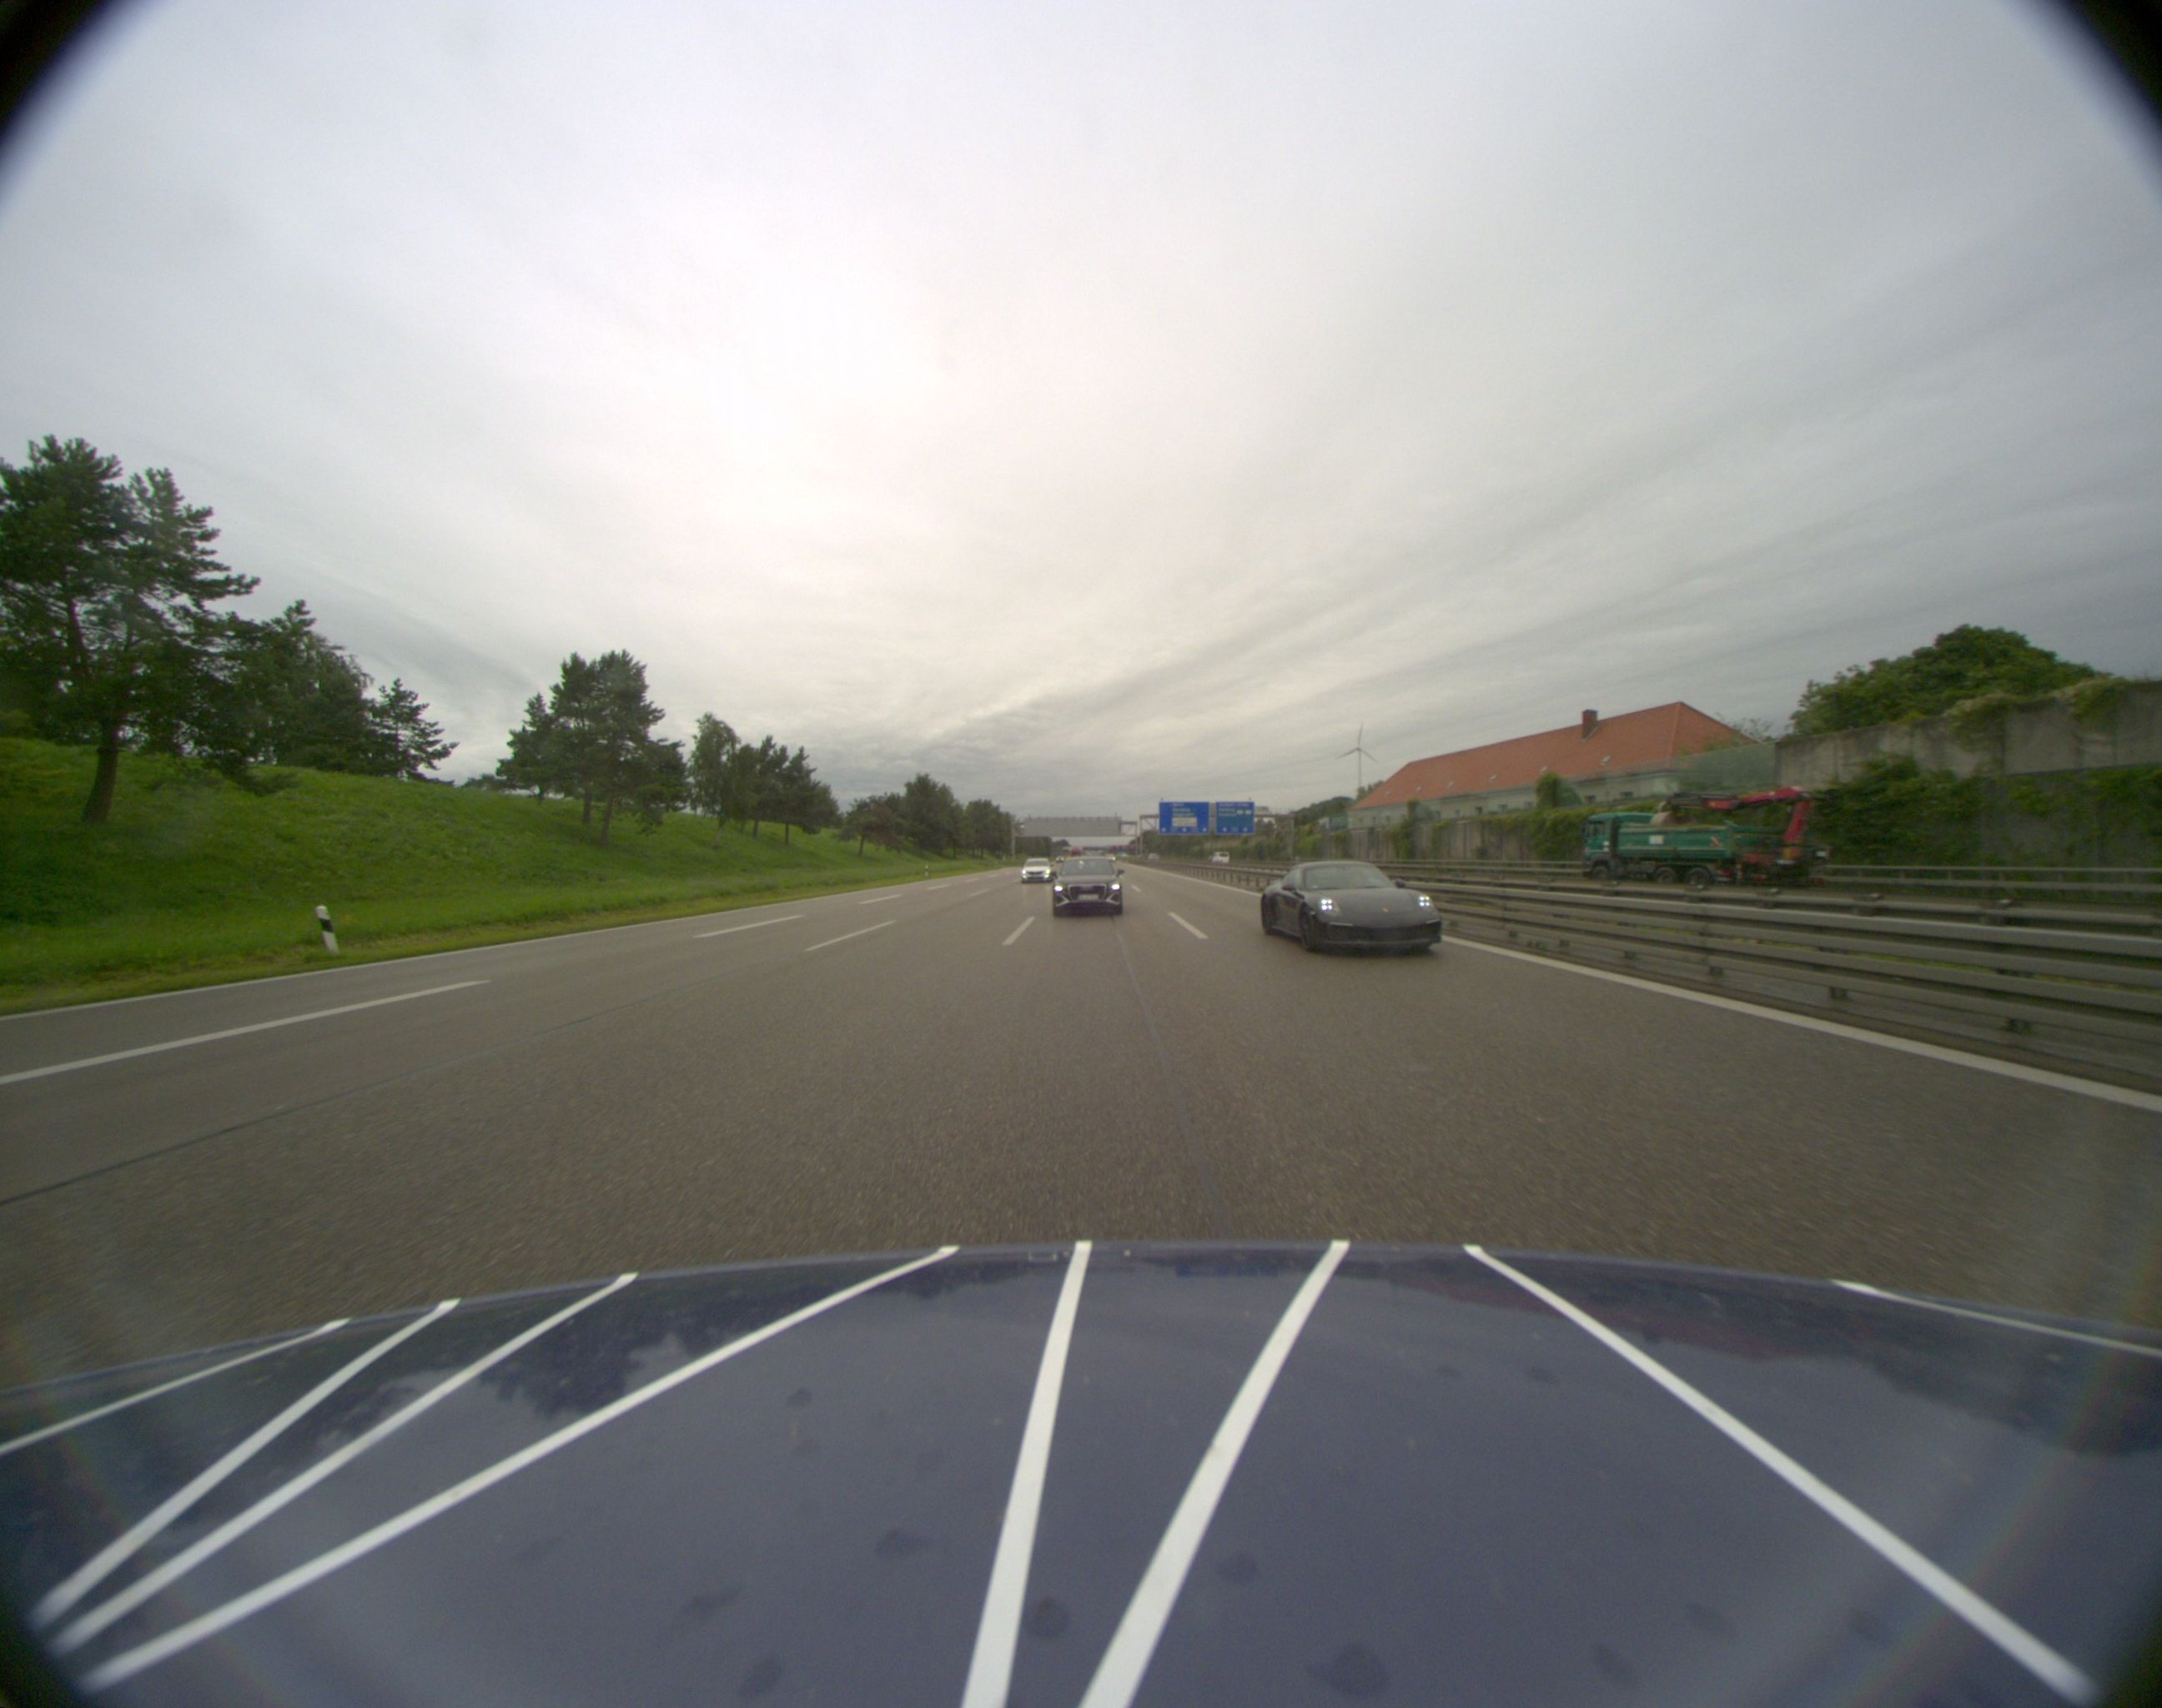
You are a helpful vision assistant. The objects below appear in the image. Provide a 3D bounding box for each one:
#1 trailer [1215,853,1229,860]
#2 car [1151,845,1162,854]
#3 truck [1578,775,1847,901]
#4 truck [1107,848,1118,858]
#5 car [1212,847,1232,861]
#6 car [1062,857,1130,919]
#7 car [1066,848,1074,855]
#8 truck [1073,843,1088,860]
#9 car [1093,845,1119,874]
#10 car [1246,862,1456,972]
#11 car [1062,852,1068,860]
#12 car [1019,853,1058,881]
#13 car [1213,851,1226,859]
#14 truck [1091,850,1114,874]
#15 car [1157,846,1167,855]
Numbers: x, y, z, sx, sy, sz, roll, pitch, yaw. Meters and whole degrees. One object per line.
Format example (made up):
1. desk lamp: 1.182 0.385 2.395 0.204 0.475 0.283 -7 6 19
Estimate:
1. trailer: 27.418 0.411 147.747 2.134 1.260 5.248 -2 1 4
2. car: 15.966 -0.960 160.396 1.792 1.741 4.535 -2 1 0
3. truck: 22.032 -0.526 27.377 2.698 3.755 8.335 -2 1 0
4. truck: 6.318 -0.266 153.622 1.998 2.002 4.000 -2 0 1
5. car: 21.347 -0.030 115.318 1.998 2.002 4.956 -2 1 1
6. car: 0.375 0.846 20.347 1.616 1.403 3.326 -2 1 1
7. car: -3.079 -0.672 207.145 1.998 2.002 4.000 -2 1 2
8. truck: -0.042 -0.596 164.333 2.836 3.634 10.670 -2 1 1
9. car: 2.511 0.470 77.616 2.459 2.726 8.265 -2 1 1
10. car: 4.077 0.856 12.412 1.655 1.264 4.924 -2 1 0
11. car: -3.636 0.450 174.948 1.346 1.732 3.106 -2 1 1
12. car: -2.528 0.761 46.601 1.998 1.555 4.910 1 0 1
13. car: 27.719 0.220 152.600 1.960 1.543 4.522 -2 1 3
14. truck: 1.940 0.655 69.275 1.894 2.002 6.261 -2 1 1
15. car: 20.409 -0.909 192.104 1.937 2.002 4.731 -2 1 0
